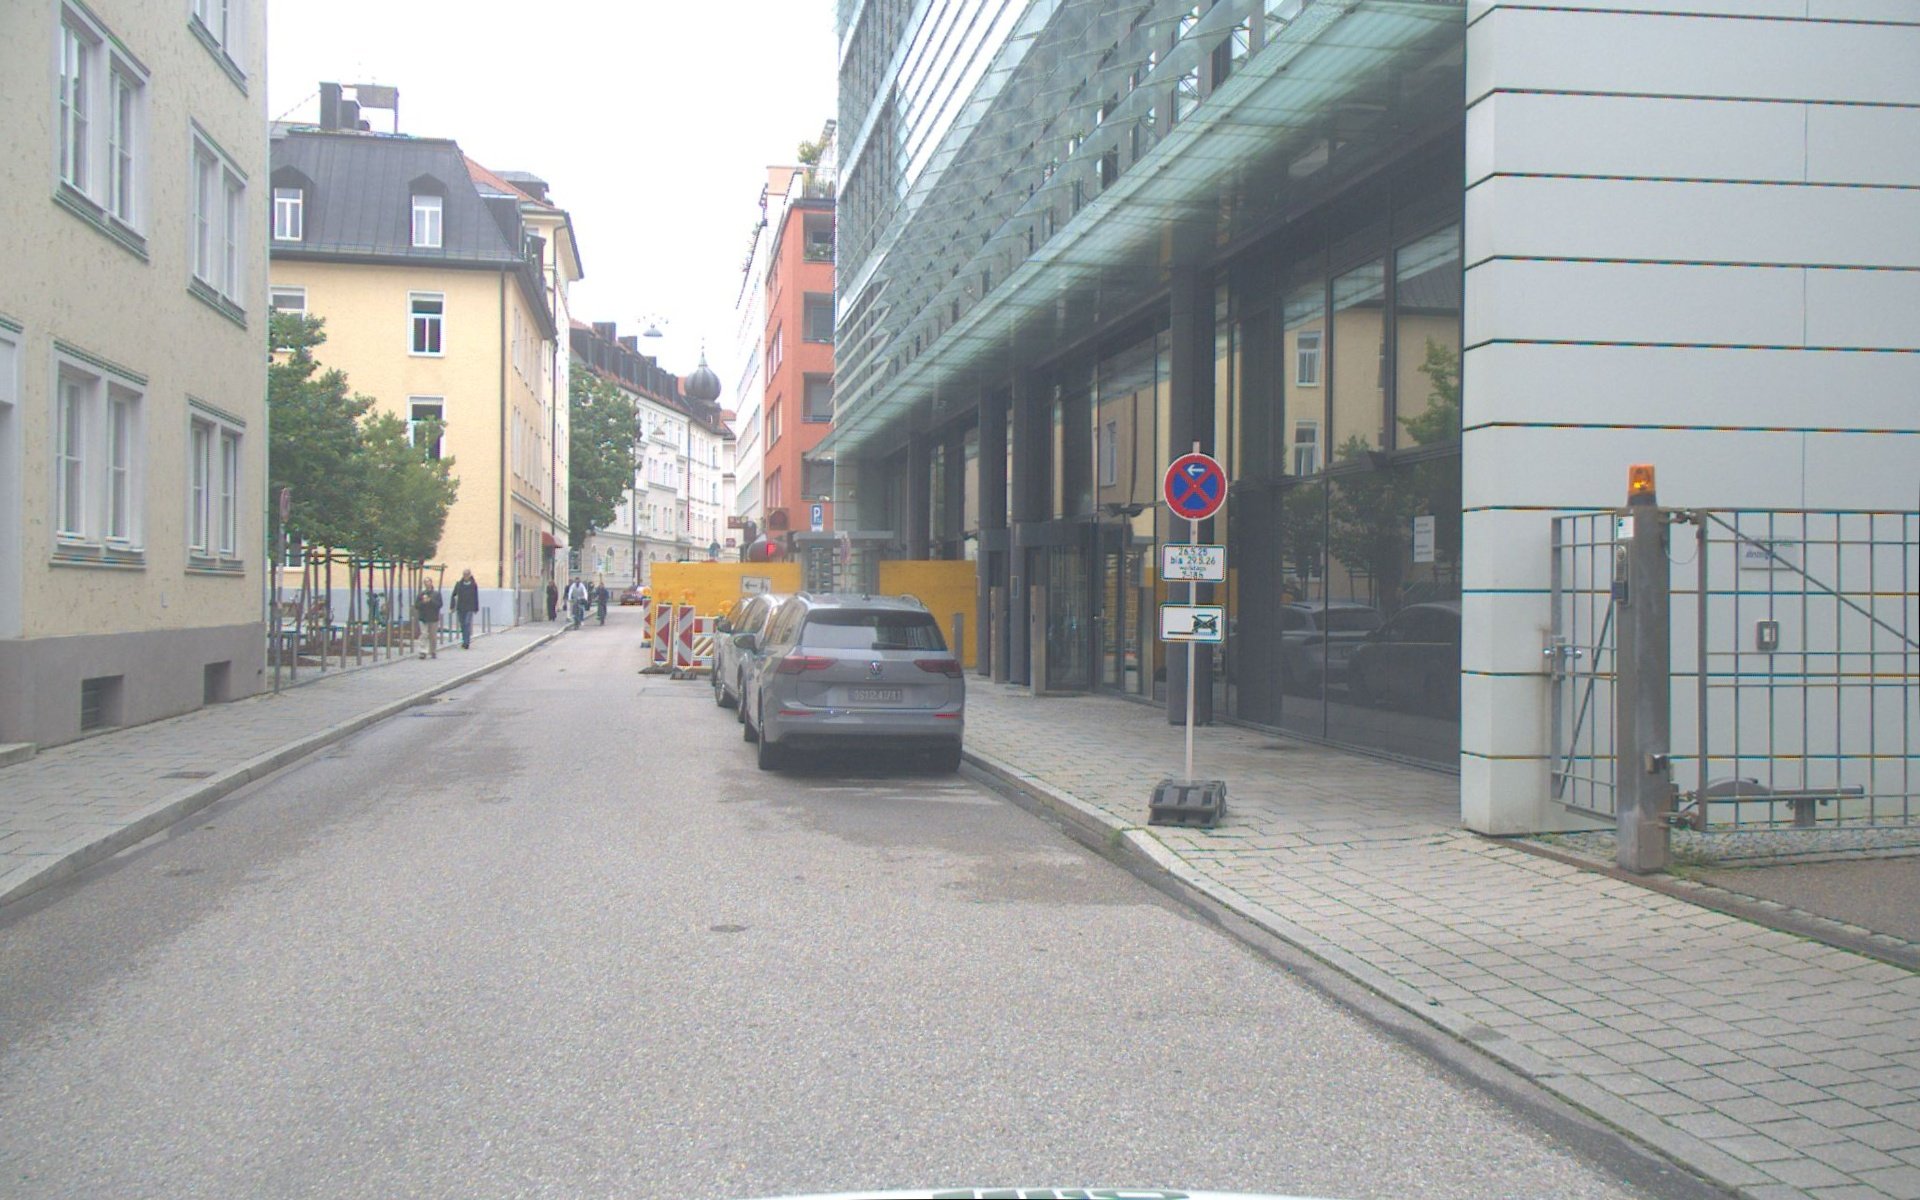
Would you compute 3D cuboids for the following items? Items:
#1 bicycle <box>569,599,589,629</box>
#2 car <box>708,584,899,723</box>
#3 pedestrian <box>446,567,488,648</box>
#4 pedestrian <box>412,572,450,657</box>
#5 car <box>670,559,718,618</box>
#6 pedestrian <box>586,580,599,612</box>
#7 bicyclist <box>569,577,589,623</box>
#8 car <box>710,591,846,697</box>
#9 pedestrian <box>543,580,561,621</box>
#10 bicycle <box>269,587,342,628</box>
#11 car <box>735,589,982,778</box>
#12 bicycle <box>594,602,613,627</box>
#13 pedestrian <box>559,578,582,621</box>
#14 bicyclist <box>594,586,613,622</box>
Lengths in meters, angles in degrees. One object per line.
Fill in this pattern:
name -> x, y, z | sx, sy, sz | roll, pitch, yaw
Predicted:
bicycle -> -13.727, 0.486, 59.590 | 0.649, 1.057, 1.999 | 0, 0, -11
car -> -2.020, 0.590, 20.219 | 1.678, 1.493, 4.221 | 2, 0, -14
pedestrian -> -11.901, 0.186, 39.962 | 0.852, 1.914, 1.131 | 1, 0, -12
pedestrian -> -10.836, 0.297, 33.902 | 0.635, 1.706, 0.721 | 1, 0, -12
car -> -12.309, -0.545, 76.425 | 1.958, 2.581, 4.961 | 1, 0, -11
pedestrian -> -20.039, -0.217, 90.257 | 0.623, 1.704, 0.516 | 1, 0, -11
bicyclist -> -13.755, -0.004, 59.722 | 0.648, 1.671, 0.893 | 0, 0, -11
car -> -2.873, 0.615, 25.297 | 1.677, 1.438, 4.497 | 2, 0, -11
pedestrian -> -16.601, 0.021, 67.278 | 0.658, 1.677, 0.759 | 1, 0, -12
bicycle -> -20.309, 0.221, 51.324 | 2.003, 1.218, 0.569 | 1, 0, -4
car -> -1.069, 0.641, 15.025 | 1.677, 1.457, 4.317 | 0, 0, -11
bicycle -> -13.813, 0.549, 64.104 | 0.695, 0.921, 1.804 | 0, 0, -11
pedestrian -> -15.767, -0.027, 66.984 | 0.824, 1.730, 0.801 | 1, 0, -11
bicyclist -> -13.809, 0.157, 64.129 | 0.695, 1.395, 0.811 | 0, 0, -11
